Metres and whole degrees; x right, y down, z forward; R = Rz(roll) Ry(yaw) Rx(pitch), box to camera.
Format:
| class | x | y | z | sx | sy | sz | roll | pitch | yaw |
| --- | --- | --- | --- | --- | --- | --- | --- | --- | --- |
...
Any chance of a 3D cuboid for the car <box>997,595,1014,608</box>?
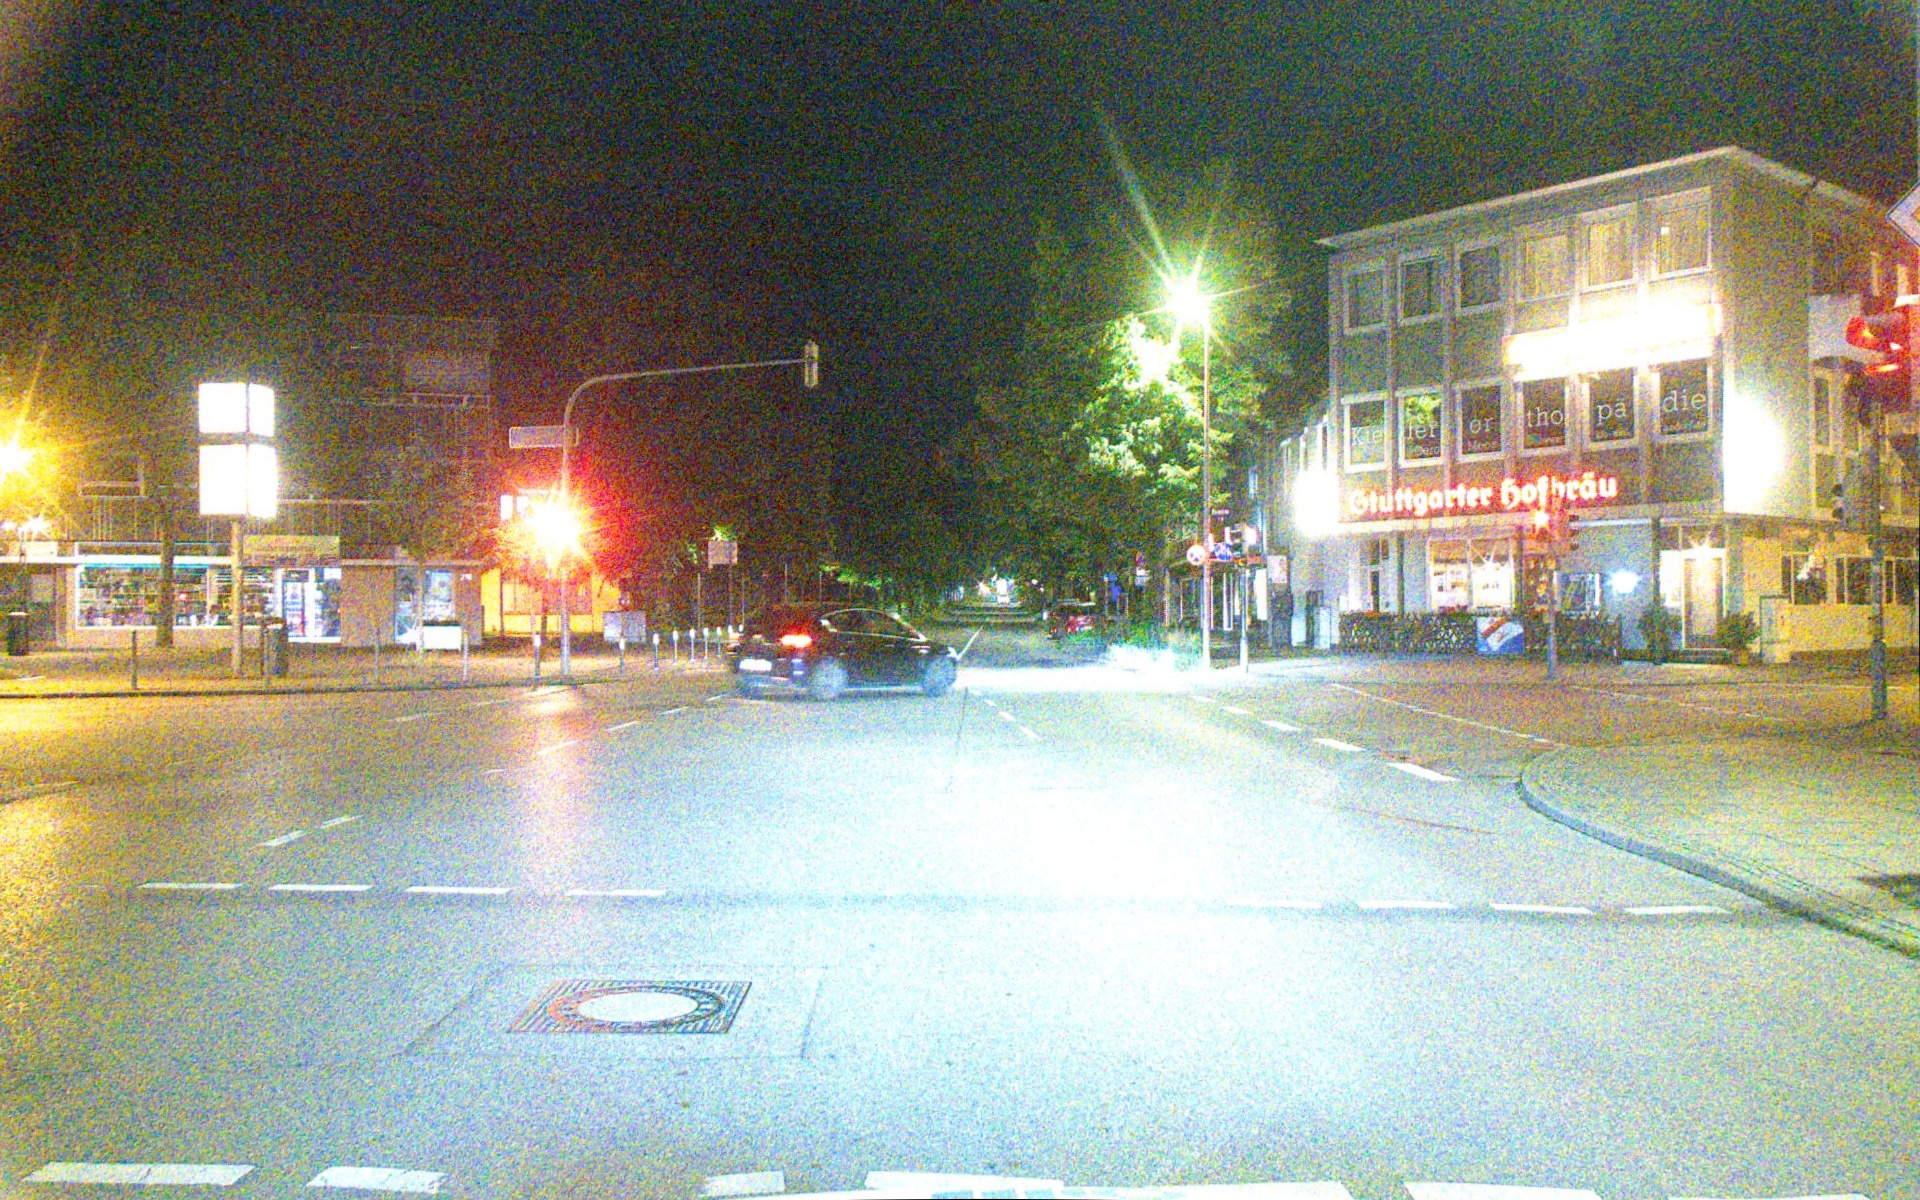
| class | x | y | z | sx | sy | sz | roll | pitch | yaw |
| --- | --- | --- | --- | --- | --- | --- | --- | --- | --- |
| car | 6.195 | 0.228 | 223.829 | 2.181 | 1.680 | 4.000 | 0 | 0 | 0 |

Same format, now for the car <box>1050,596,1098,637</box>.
| class | x | y | z | sx | sy | sz | roll | pitch | yaw |
| --- | --- | --- | --- | --- | --- | --- | --- | --- | --- |
| car | 4.728 | 0.682 | 68.859 | 1.837 | 1.643 | 4.001 | 0 | 0 | 2 |

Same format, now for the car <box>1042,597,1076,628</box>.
| class | x | y | z | sx | sy | sz | roll | pitch | yaw |
| --- | --- | --- | --- | --- | --- | --- | --- | --- | --- |
| car | 5.659 | 0.696 | 94.598 | 1.837 | 1.713 | 4.001 | 0 | 0 | 2 |

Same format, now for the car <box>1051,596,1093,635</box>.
| class | x | y | z | sx | sy | sz | roll | pitch | yaw |
| --- | --- | --- | --- | --- | --- | --- | --- | --- | --- |
| car | 5.153 | 0.711 | 76.536 | 1.837 | 1.759 | 4.001 | 0 | 0 | 2 |

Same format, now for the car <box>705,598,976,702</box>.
| class | x | y | z | sx | sy | sz | roll | pitch | yaw |
| --- | --- | --- | --- | --- | --- | --- | --- | --- | --- |
| car | -1.807 | 0.756 | 26.165 | 1.844 | 1.479 | 4.294 | 1 | 0 | 39 |

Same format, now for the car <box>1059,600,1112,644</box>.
| class | x | y | z | sx | sy | sz | roll | pitch | yaw |
| --- | --- | --- | --- | --- | --- | --- | --- | --- | --- |
| car | 4.793 | 0.833 | 63.535 | 1.837 | 1.643 | 4.001 | 0 | 0 | 2 |
